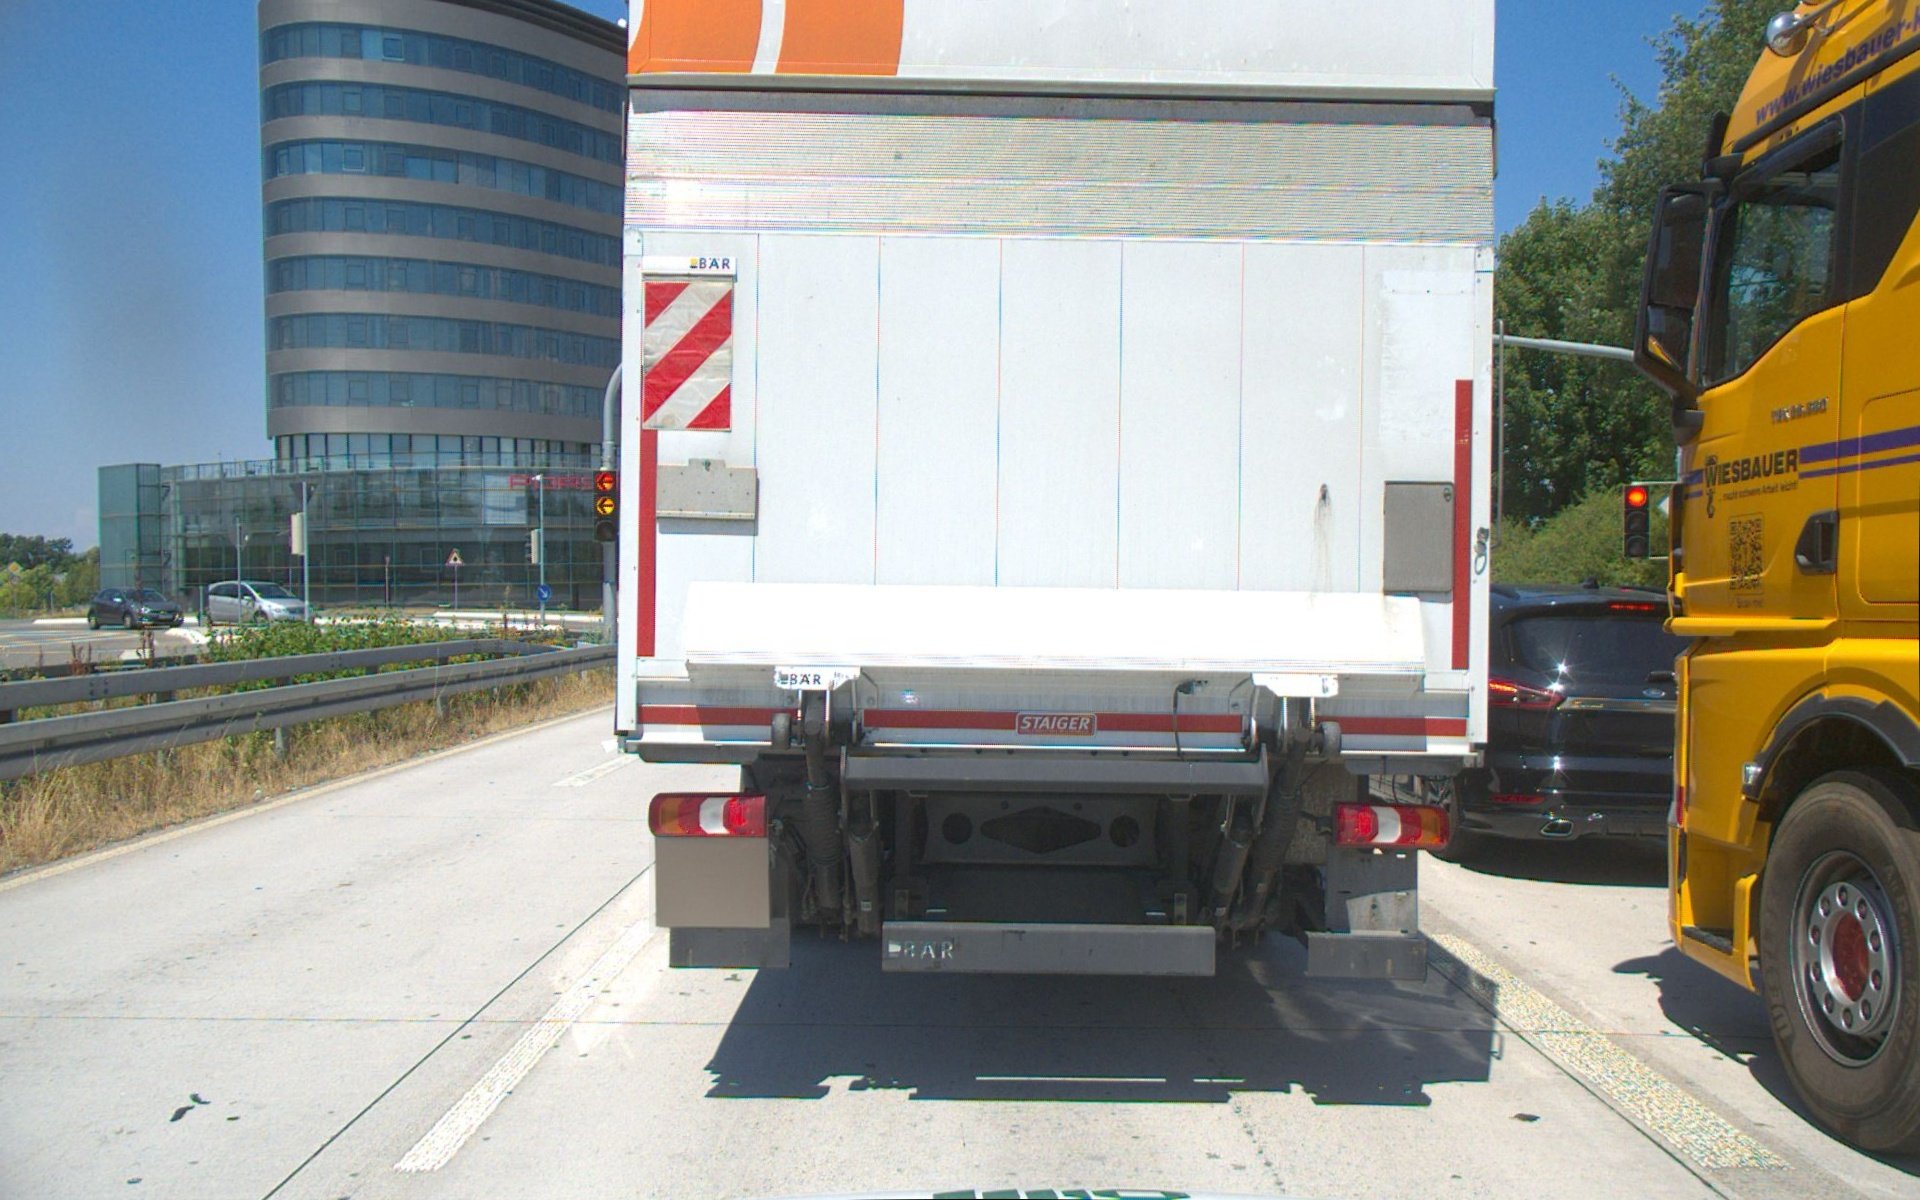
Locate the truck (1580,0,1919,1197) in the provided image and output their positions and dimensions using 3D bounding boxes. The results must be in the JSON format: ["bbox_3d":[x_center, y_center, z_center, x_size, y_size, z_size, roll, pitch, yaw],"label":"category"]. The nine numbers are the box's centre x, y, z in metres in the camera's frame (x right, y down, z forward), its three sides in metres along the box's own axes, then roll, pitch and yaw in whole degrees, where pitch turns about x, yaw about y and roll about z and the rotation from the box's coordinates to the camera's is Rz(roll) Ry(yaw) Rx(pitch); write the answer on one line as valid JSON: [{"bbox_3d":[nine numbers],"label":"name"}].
[{"bbox_3d":[3.936,-0.420,2.484,2.953,3.838,7.466,1,0,-2],"label":"truck"}]

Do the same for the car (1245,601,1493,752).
[{"bbox_3d":[4.359,0.752,18.327,1.731,1.435,4.611,1,0,2],"label":"car"}]

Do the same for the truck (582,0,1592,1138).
[{"bbox_3d":[0.299,-0.494,9.198,2.713,3.927,9.368,1,0,-1],"label":"truck"}]

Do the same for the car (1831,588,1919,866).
[{"bbox_3d":[7.316,0.848,9.603,1.733,1.839,4.788,1,0,-4],"label":"car"}]

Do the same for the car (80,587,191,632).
[{"bbox_3d":[-28.850,0.355,57.868,4.241,1.482,1.691,-2,-2,35],"label":"car"}]

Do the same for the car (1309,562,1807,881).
[{"bbox_3d":[3.682,0.658,11.146,1.747,1.668,4.648,1,0,1],"label":"car"}]

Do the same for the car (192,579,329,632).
[{"bbox_3d":[-22.675,0.199,53.588,4.231,1.623,1.775,-1,-2,27],"label":"car"}]
